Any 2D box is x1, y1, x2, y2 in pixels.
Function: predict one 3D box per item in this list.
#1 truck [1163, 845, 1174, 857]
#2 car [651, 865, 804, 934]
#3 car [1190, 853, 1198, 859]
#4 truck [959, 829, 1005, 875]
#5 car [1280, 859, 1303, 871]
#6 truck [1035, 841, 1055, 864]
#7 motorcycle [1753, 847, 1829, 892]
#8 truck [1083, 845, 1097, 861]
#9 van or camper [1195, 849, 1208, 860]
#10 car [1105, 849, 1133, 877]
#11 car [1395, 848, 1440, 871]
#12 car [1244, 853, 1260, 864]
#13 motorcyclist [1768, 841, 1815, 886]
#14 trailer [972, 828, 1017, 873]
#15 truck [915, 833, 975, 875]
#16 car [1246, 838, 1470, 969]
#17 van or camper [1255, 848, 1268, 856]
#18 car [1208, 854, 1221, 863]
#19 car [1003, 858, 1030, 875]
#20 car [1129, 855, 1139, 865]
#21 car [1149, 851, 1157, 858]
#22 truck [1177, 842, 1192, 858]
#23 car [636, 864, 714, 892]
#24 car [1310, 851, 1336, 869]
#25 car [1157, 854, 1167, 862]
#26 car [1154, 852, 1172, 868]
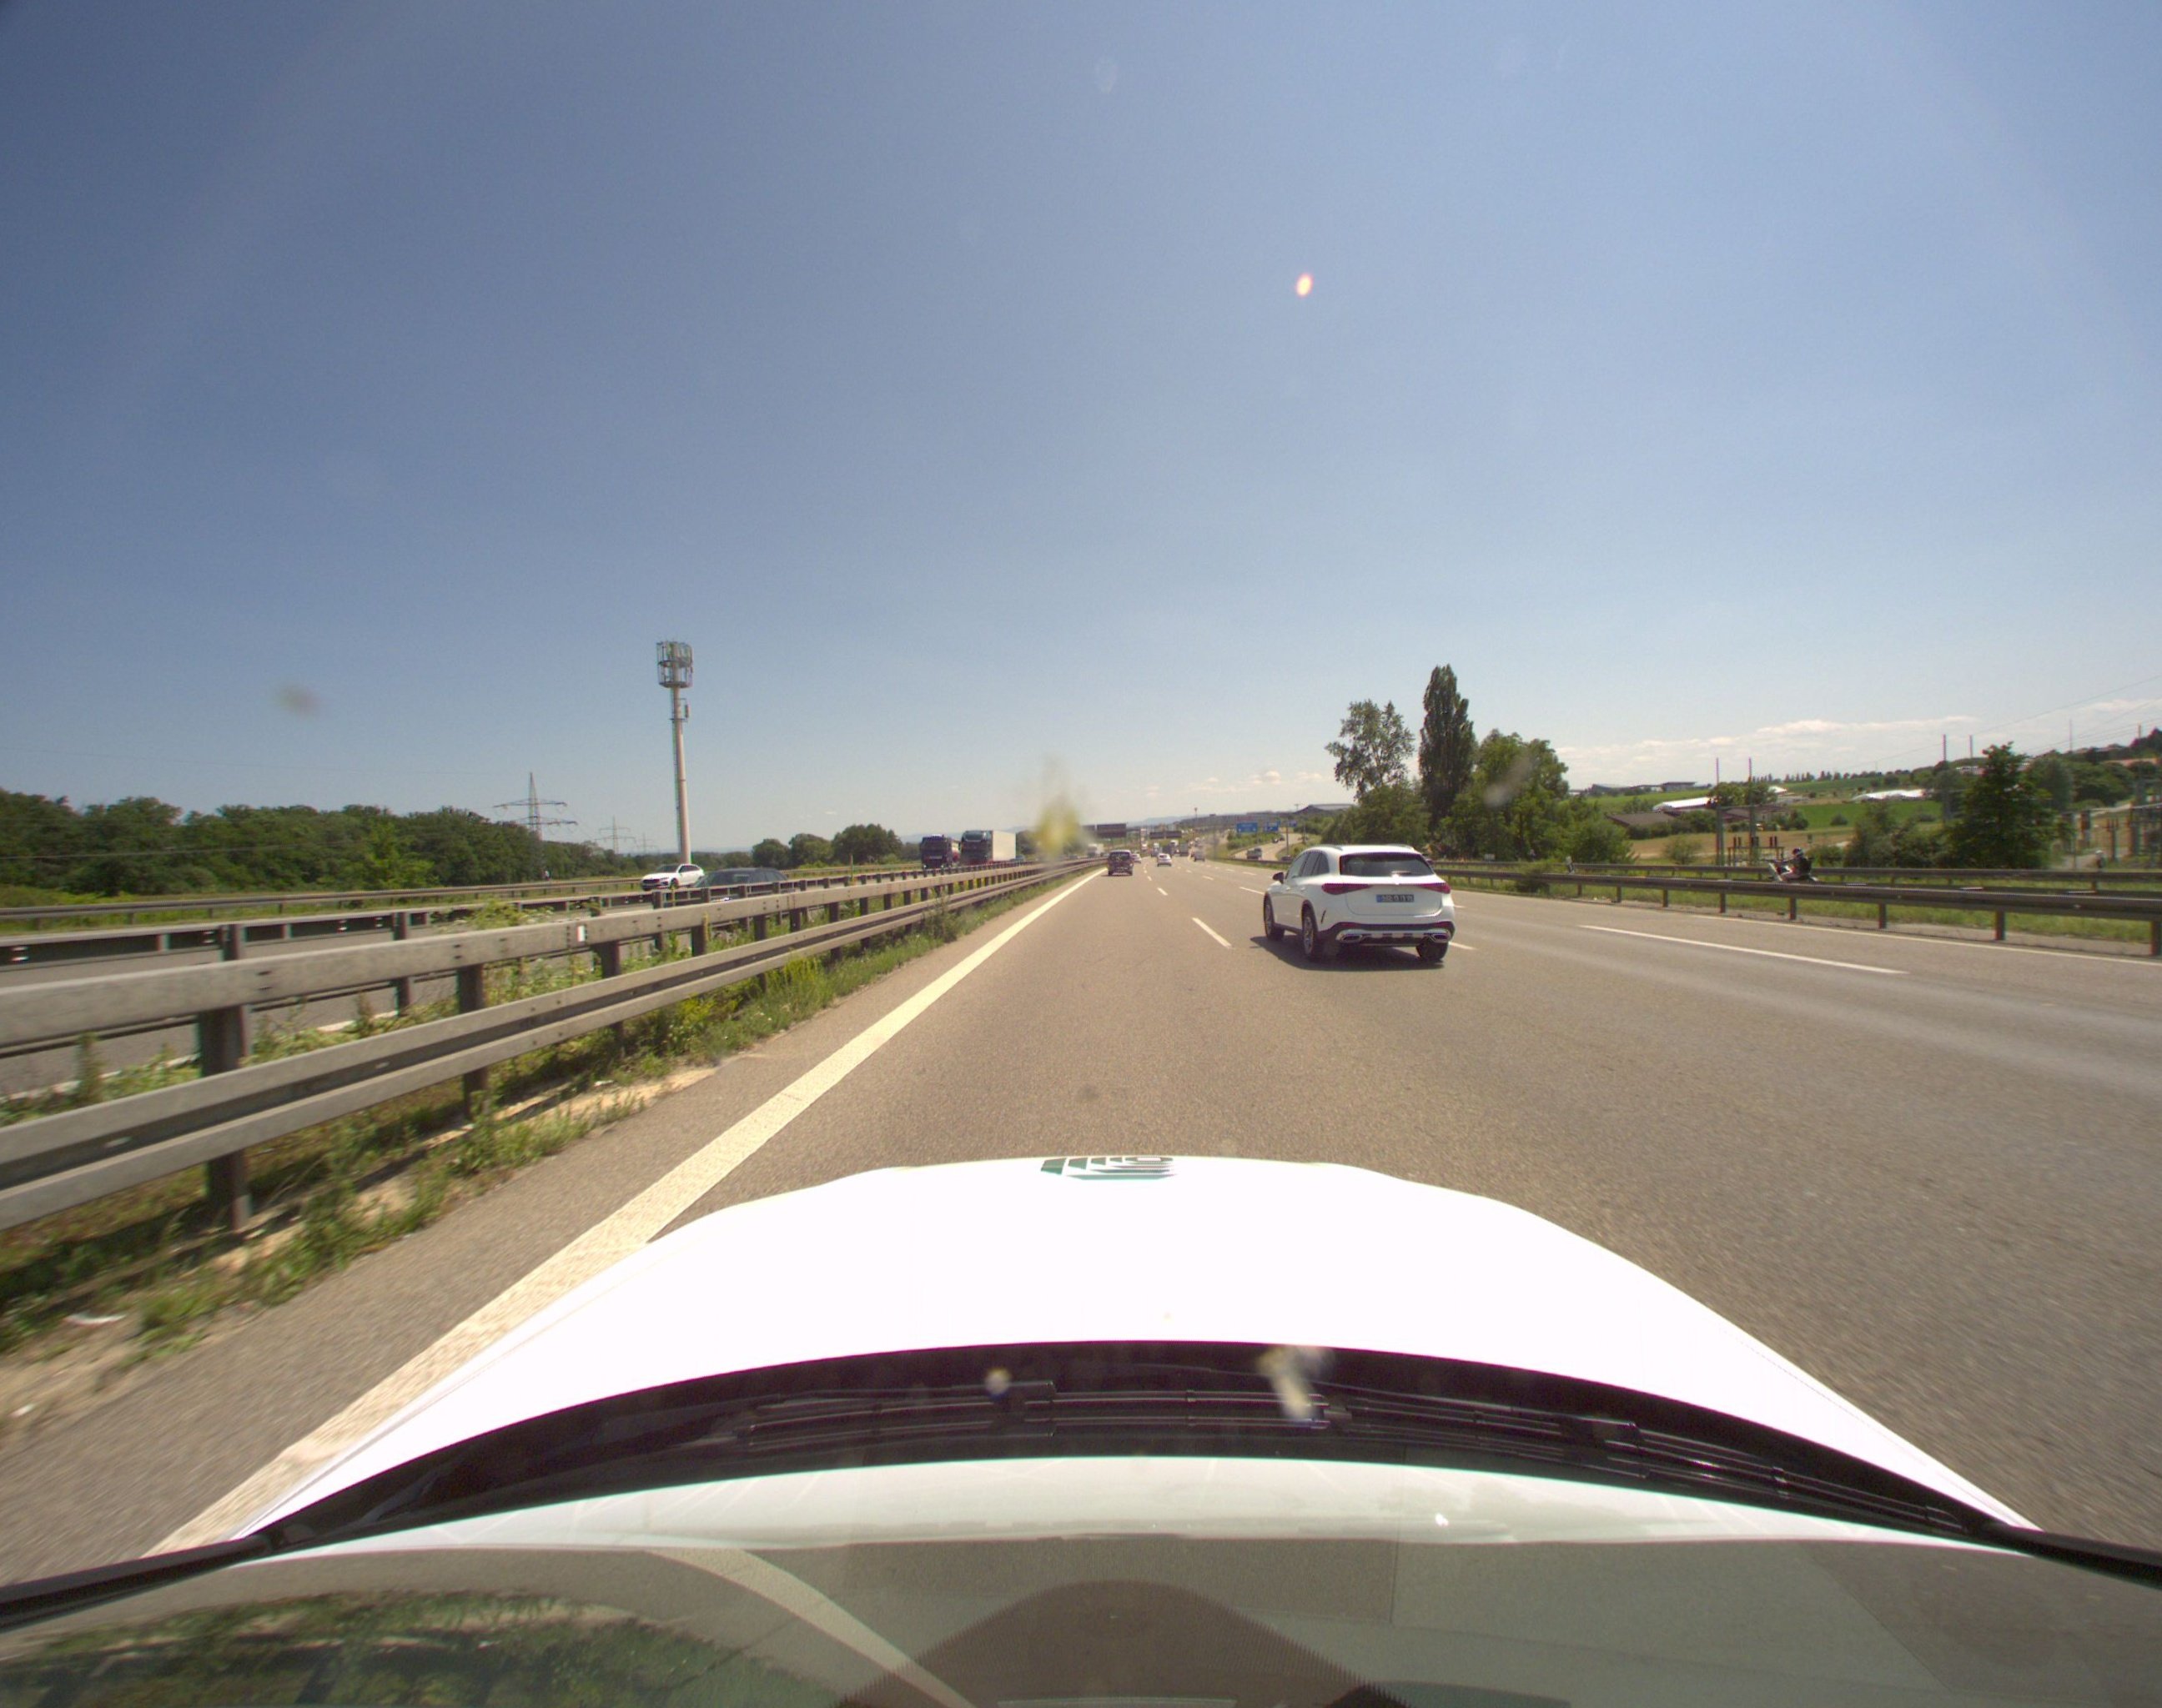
[{"bbox_3d":[22.925,-0.673,213.474,2.688,3.109,10.680,-1,0,7],"label":"truck"},{"bbox_3d":[-8.800,1.065,20.772,1.671,1.464,4.707,-1,0,2],"label":"car"},{"bbox_3d":[29.804,0.502,215.334,1.984,1.690,4.006,-1,0,5],"label":"car"},{"bbox_3d":[-9.243,-0.175,76.882,2.955,4.120,7.603,-1,0,3],"label":"truck"},{"bbox_3d":[29.089,1.502,112.506,1.989,1.596,3.996,-1,0,-3],"label":"car"},{"bbox_3d":[-6.653,-0.354,149.895,2.868,4.117,6.392,-1,0,4],"label":"truck"},{"bbox_3d":[22.091,0.469,25.382,0.757,1.366,1.871,-1,0,3],"label":"motorcycle"},{"bbox_3d":[2.552,-0.328,229.503,3.020,4.240,6.696,-1,0,6],"label":"truck"},{"bbox_3d":[21.848,0.141,147.547,2.144,2.014,4.313,-1,0,7],"label":"van or camper"},{"bbox_3d":[2.773,0.626,58.966,1.919,1.919,4.952,-1,0,3],"label":"car"},{"bbox_3d":[24.216,0.398,58.774,1.692,1.575,4.131,-1,0,3],"label":"car"},{"bbox_3d":[32.995,0.913,157.442,1.990,2.014,3.993,-1,0,-5],"label":"car"},{"bbox_3d":[22.086,0.298,25.321,0.666,1.366,0.879,-1,-1,1],"label":"motorcyclist"},{"bbox_3d":[-8.863,-0.287,84.713,2.943,4.372,10.740,-1,0,3],"label":"trailer"},{"bbox_3d":[-13.346,0.008,81.558,3.206,3.785,12.909,-1,0,3],"label":"truck"},{"bbox_3d":[4.069,0.653,12.960,1.892,1.647,4.998,-1,0,0],"label":"car"},{"bbox_3d":[45.181,-0.542,204.356,2.518,2.014,4.465,-1,0,4],"label":"van or camper"},{"bbox_3d":[25.642,0.853,156.832,1.986,1.690,4.001,-1,0,1],"label":"car"},{"bbox_3d":[-5.690,1.056,72.334,1.797,1.390,4.294,-1,0,3],"label":"car"},{"bbox_3d":[8.334,0.929,128.541,1.569,1.552,3.967,-1,0,3],"label":"car"},{"bbox_3d":[20.058,0.083,227.546,2.175,2.003,4.006,-1,0,5],"label":"car"},{"bbox_3d":[30.730,-1.163,242.237,4.018,4.261,11.782,-1,2,7],"label":"truck"},{"bbox_3d":[-23.017,1.340,46.420,1.509,1.401,4.807,-1,0,7],"label":"car"},{"bbox_3d":[27.400,0.676,92.359,1.930,1.923,4.183,-1,0,4],"label":"car"},{"bbox_3d":[15.383,0.739,154.662,1.972,1.473,4.006,-2,0,6],"label":"car"},{"bbox_3d":[10.091,0.755,100.297,1.920,1.919,4.519,-1,0,1],"label":"car"}]
